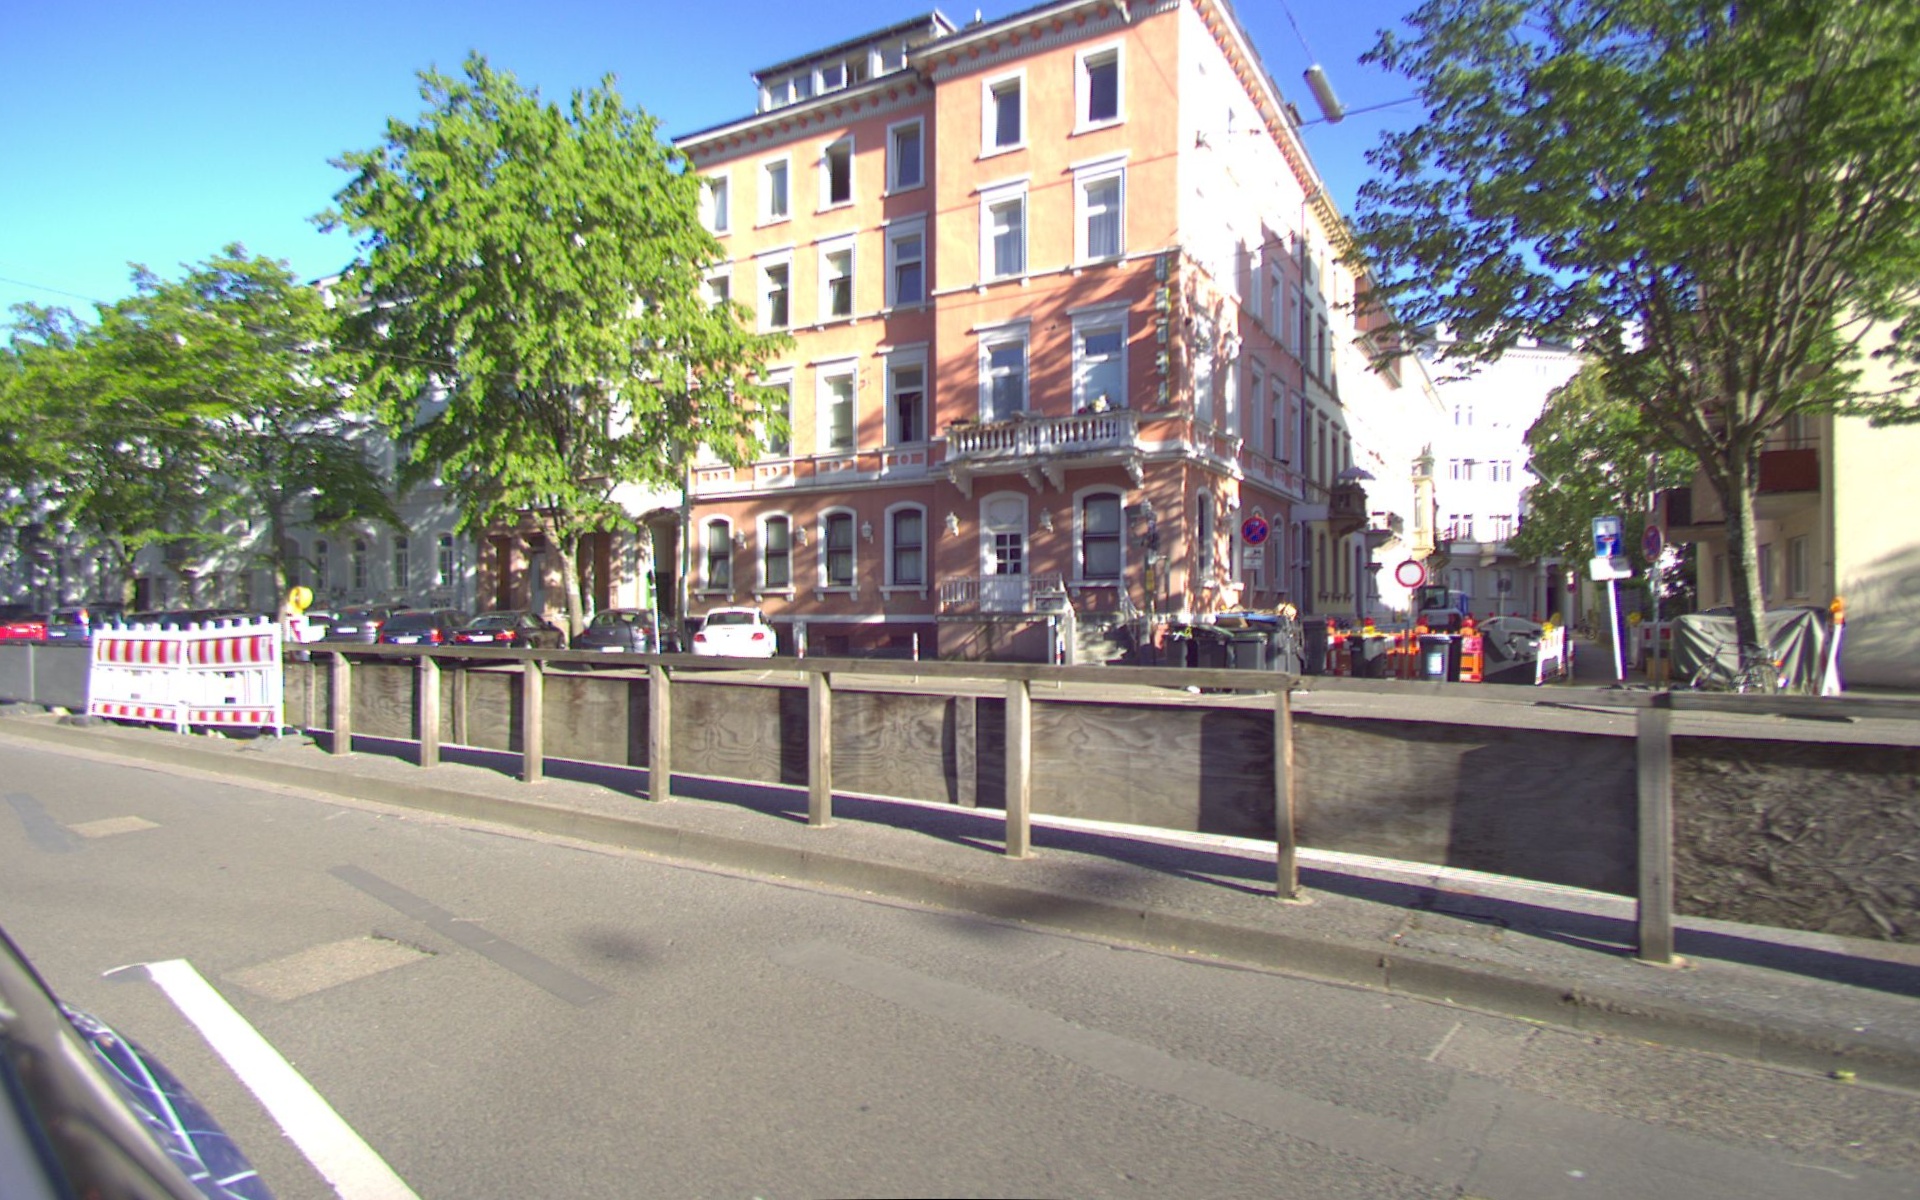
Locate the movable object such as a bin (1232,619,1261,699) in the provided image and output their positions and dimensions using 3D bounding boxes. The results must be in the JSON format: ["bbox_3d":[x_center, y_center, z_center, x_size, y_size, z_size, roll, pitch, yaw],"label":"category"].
[{"bbox_3d":[5.242,1.061,18.510,0.385,1.437,0.375,-1,-1,41],"label":"movable object such as a bin"}]

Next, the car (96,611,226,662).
[{"bbox_3d":[-29.346,1.290,37.332,1.748,1.666,3.871,0,1,0],"label":"car"}]

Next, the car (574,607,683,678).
[{"bbox_3d":[-8.449,1.023,26.124,1.665,1.519,3.925,-2,2,-3],"label":"car"}]

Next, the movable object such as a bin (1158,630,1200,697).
[{"bbox_3d":[4.039,1.157,18.670,0.639,1.212,0.375,-1,-1,41],"label":"movable object such as a bin"}]

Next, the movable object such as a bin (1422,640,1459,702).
[{"bbox_3d":[8.892,1.300,18.729,0.551,1.105,0.376,1,0,35],"label":"movable object such as a bin"}]

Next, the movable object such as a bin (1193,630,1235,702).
[{"bbox_3d":[4.579,1.176,18.263,0.639,1.251,0.375,-1,-1,41],"label":"movable object such as a bin"}]

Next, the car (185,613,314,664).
[{"bbox_3d":[-24.142,1.263,34.561,1.746,1.496,3.823,0,1,0],"label":"car"}]

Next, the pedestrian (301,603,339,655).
[{"bbox_3d":[-22.283,1.006,35.247,0.801,1.769,0.761,-1,-1,18],"label":"pedestrian"}]

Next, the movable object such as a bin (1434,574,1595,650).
[{"bbox_3d":[23.344,0.482,42.647,5.260,2.952,3.901,0,0,41],"label":"movable object such as a bin"}]

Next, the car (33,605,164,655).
[{"bbox_3d":[-34.945,1.162,41.204,1.761,1.811,4.201,0,1,0],"label":"car"}]

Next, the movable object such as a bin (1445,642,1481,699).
[{"bbox_3d":[9.583,1.338,19.279,0.551,1.041,0.443,1,0,35],"label":"movable object such as a bin"}]

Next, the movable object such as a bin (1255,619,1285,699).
[{"bbox_3d":[5.611,1.059,18.331,0.387,1.437,0.375,-1,-1,41],"label":"movable object such as a bin"}]

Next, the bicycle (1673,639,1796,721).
[{"bbox_3d":[11.351,1.152,14.861,1.404,1.125,0.261,-1,-1,41],"label":"bicycle"}]

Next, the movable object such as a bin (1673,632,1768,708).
[{"bbox_3d":[11.851,1.075,15.802,1.145,1.135,0.422,-1,-1,35],"label":"movable object such as a bin"}]

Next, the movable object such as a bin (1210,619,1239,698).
[{"bbox_3d":[4.899,1.064,18.723,0.387,1.437,0.375,-1,-1,41],"label":"movable object such as a bin"}]

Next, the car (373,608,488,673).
[{"bbox_3d":[-15.307,1.108,29.478,1.609,1.629,3.992,-1,1,-6],"label":"car"}]

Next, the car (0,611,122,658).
[{"bbox_3d":[-37.613,1.417,42.232,1.718,1.649,4.201,-2,1,0],"label":"car"}]

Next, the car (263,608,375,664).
[{"bbox_3d":[-20.968,1.134,33.259,1.682,1.544,3.283,-1,2,-3],"label":"car"}]

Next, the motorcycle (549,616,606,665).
[{"bbox_3d":[-10.928,1.123,28.871,1.926,1.289,0.672,1,1,40],"label":"motorcycle"}]

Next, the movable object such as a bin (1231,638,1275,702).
[{"bbox_3d":[5.118,1.214,17.702,0.639,1.076,0.375,-1,-1,41],"label":"movable object such as a bin"}]

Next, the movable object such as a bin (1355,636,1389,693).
[{"bbox_3d":[8.292,1.289,20.356,0.551,1.105,0.376,-1,-1,35],"label":"movable object such as a bin"}]

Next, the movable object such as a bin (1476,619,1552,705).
[{"bbox_3d":[9.920,1.092,18.127,1.145,1.469,0.422,1,0,35],"label":"movable object such as a bin"}]

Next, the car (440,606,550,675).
[{"bbox_3d":[-12.839,1.054,28.190,1.609,1.629,3.992,-1,1,-6],"label":"car"}]

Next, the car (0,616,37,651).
[{"bbox_3d":[-45.979,1.609,47.425,1.617,1.569,4.201,-1,1,0],"label":"car"}]

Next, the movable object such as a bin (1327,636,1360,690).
[{"bbox_3d":[8.008,1.309,21.135,0.551,1.107,0.376,-1,-1,35],"label":"movable object such as a bin"}]

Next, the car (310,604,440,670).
[{"bbox_3d":[-18.060,1.071,31.480,1.682,1.735,4.290,0,2,-3],"label":"car"}]

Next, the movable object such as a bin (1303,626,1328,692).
[{"bbox_3d":[7.180,1.185,20.427,0.387,1.322,0.376,-1,-1,35],"label":"movable object such as a bin"}]

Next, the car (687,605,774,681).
[{"bbox_3d":[-5.547,0.983,24.839,1.708,1.533,3.924,-2,2,-8],"label":"car"}]

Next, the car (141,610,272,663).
[{"bbox_3d":[-26.617,1.246,35.918,1.748,1.666,3.870,0,1,0],"label":"car"}]
